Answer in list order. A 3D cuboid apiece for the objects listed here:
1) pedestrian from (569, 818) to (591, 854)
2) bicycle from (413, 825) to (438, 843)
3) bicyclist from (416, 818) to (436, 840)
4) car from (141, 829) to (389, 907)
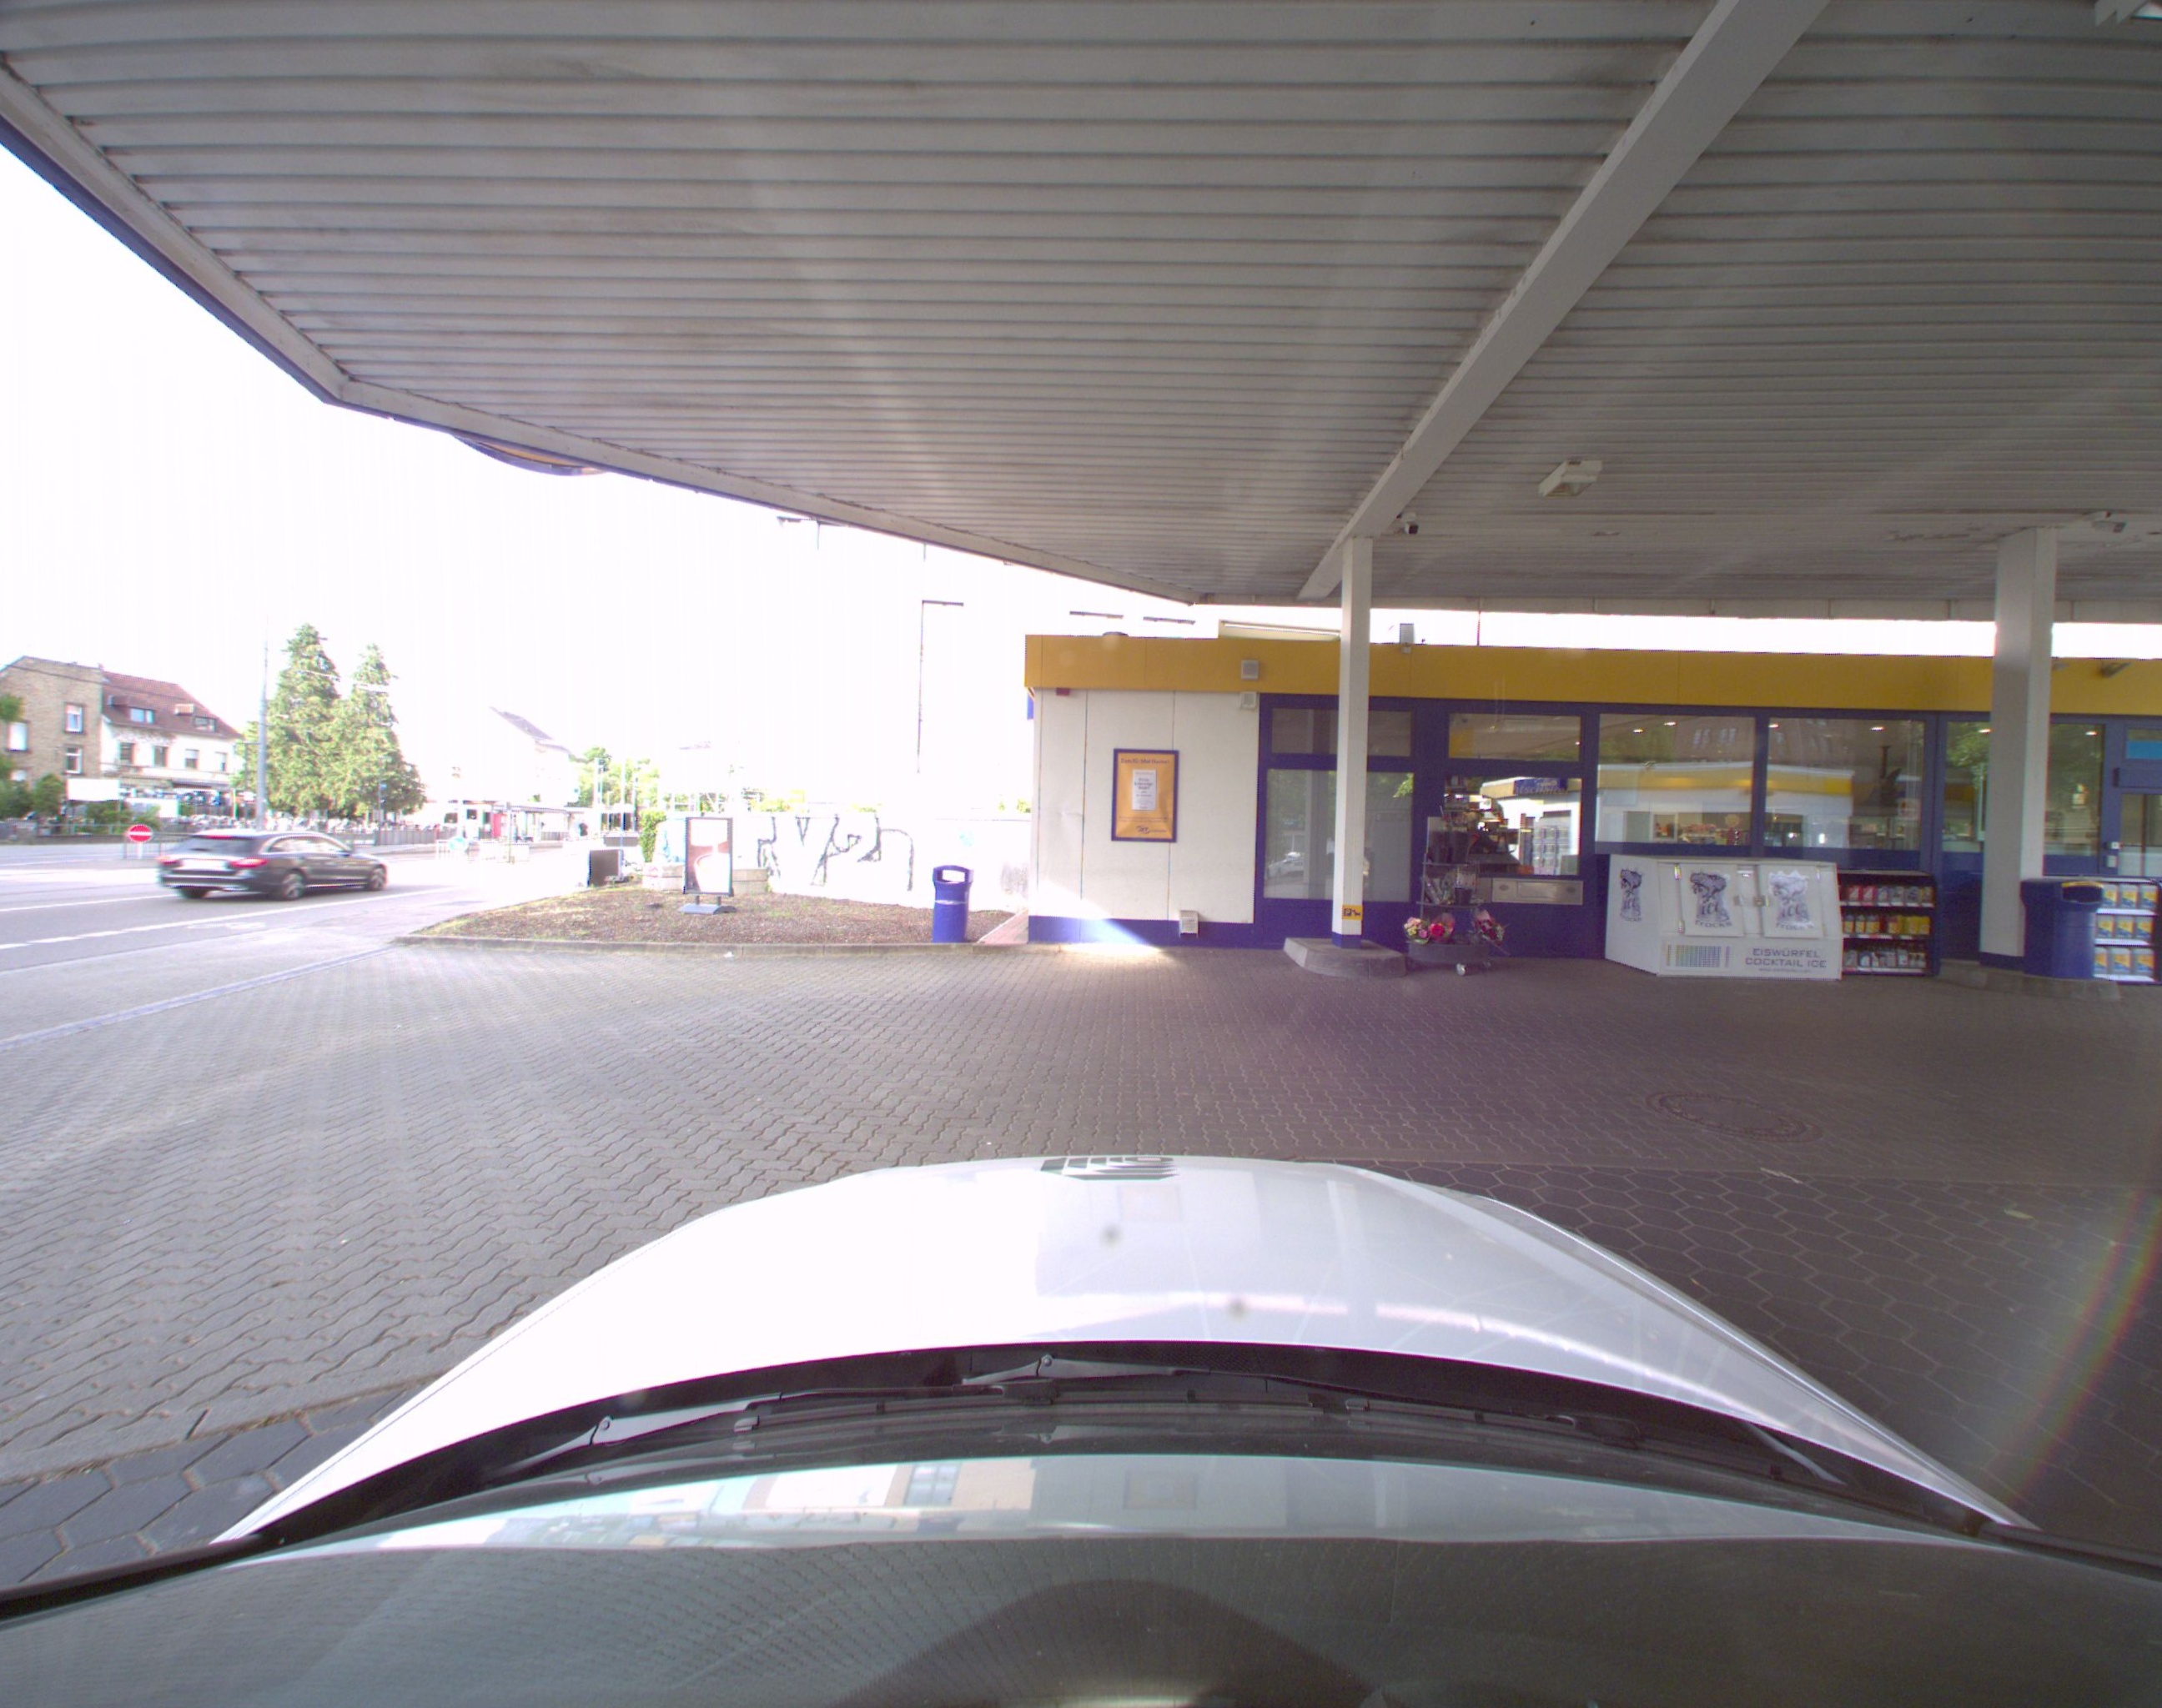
[{"bbox_3d":[-27.731,-0.986,45.116,0.807,2.014,0.846,0,-1,-15],"label":"pedestrian"},{"bbox_3d":[-46.086,-1.430,57.301,0.680,1.222,1.909,0,1,-16],"label":"bicycle"},{"bbox_3d":[-46.076,-1.734,57.302,0.680,1.534,1.079,0,1,-17],"label":"bicyclist"},{"bbox_3d":[-17.563,0.223,17.894,1.751,1.468,4.548,2,1,-15],"label":"car"}]
